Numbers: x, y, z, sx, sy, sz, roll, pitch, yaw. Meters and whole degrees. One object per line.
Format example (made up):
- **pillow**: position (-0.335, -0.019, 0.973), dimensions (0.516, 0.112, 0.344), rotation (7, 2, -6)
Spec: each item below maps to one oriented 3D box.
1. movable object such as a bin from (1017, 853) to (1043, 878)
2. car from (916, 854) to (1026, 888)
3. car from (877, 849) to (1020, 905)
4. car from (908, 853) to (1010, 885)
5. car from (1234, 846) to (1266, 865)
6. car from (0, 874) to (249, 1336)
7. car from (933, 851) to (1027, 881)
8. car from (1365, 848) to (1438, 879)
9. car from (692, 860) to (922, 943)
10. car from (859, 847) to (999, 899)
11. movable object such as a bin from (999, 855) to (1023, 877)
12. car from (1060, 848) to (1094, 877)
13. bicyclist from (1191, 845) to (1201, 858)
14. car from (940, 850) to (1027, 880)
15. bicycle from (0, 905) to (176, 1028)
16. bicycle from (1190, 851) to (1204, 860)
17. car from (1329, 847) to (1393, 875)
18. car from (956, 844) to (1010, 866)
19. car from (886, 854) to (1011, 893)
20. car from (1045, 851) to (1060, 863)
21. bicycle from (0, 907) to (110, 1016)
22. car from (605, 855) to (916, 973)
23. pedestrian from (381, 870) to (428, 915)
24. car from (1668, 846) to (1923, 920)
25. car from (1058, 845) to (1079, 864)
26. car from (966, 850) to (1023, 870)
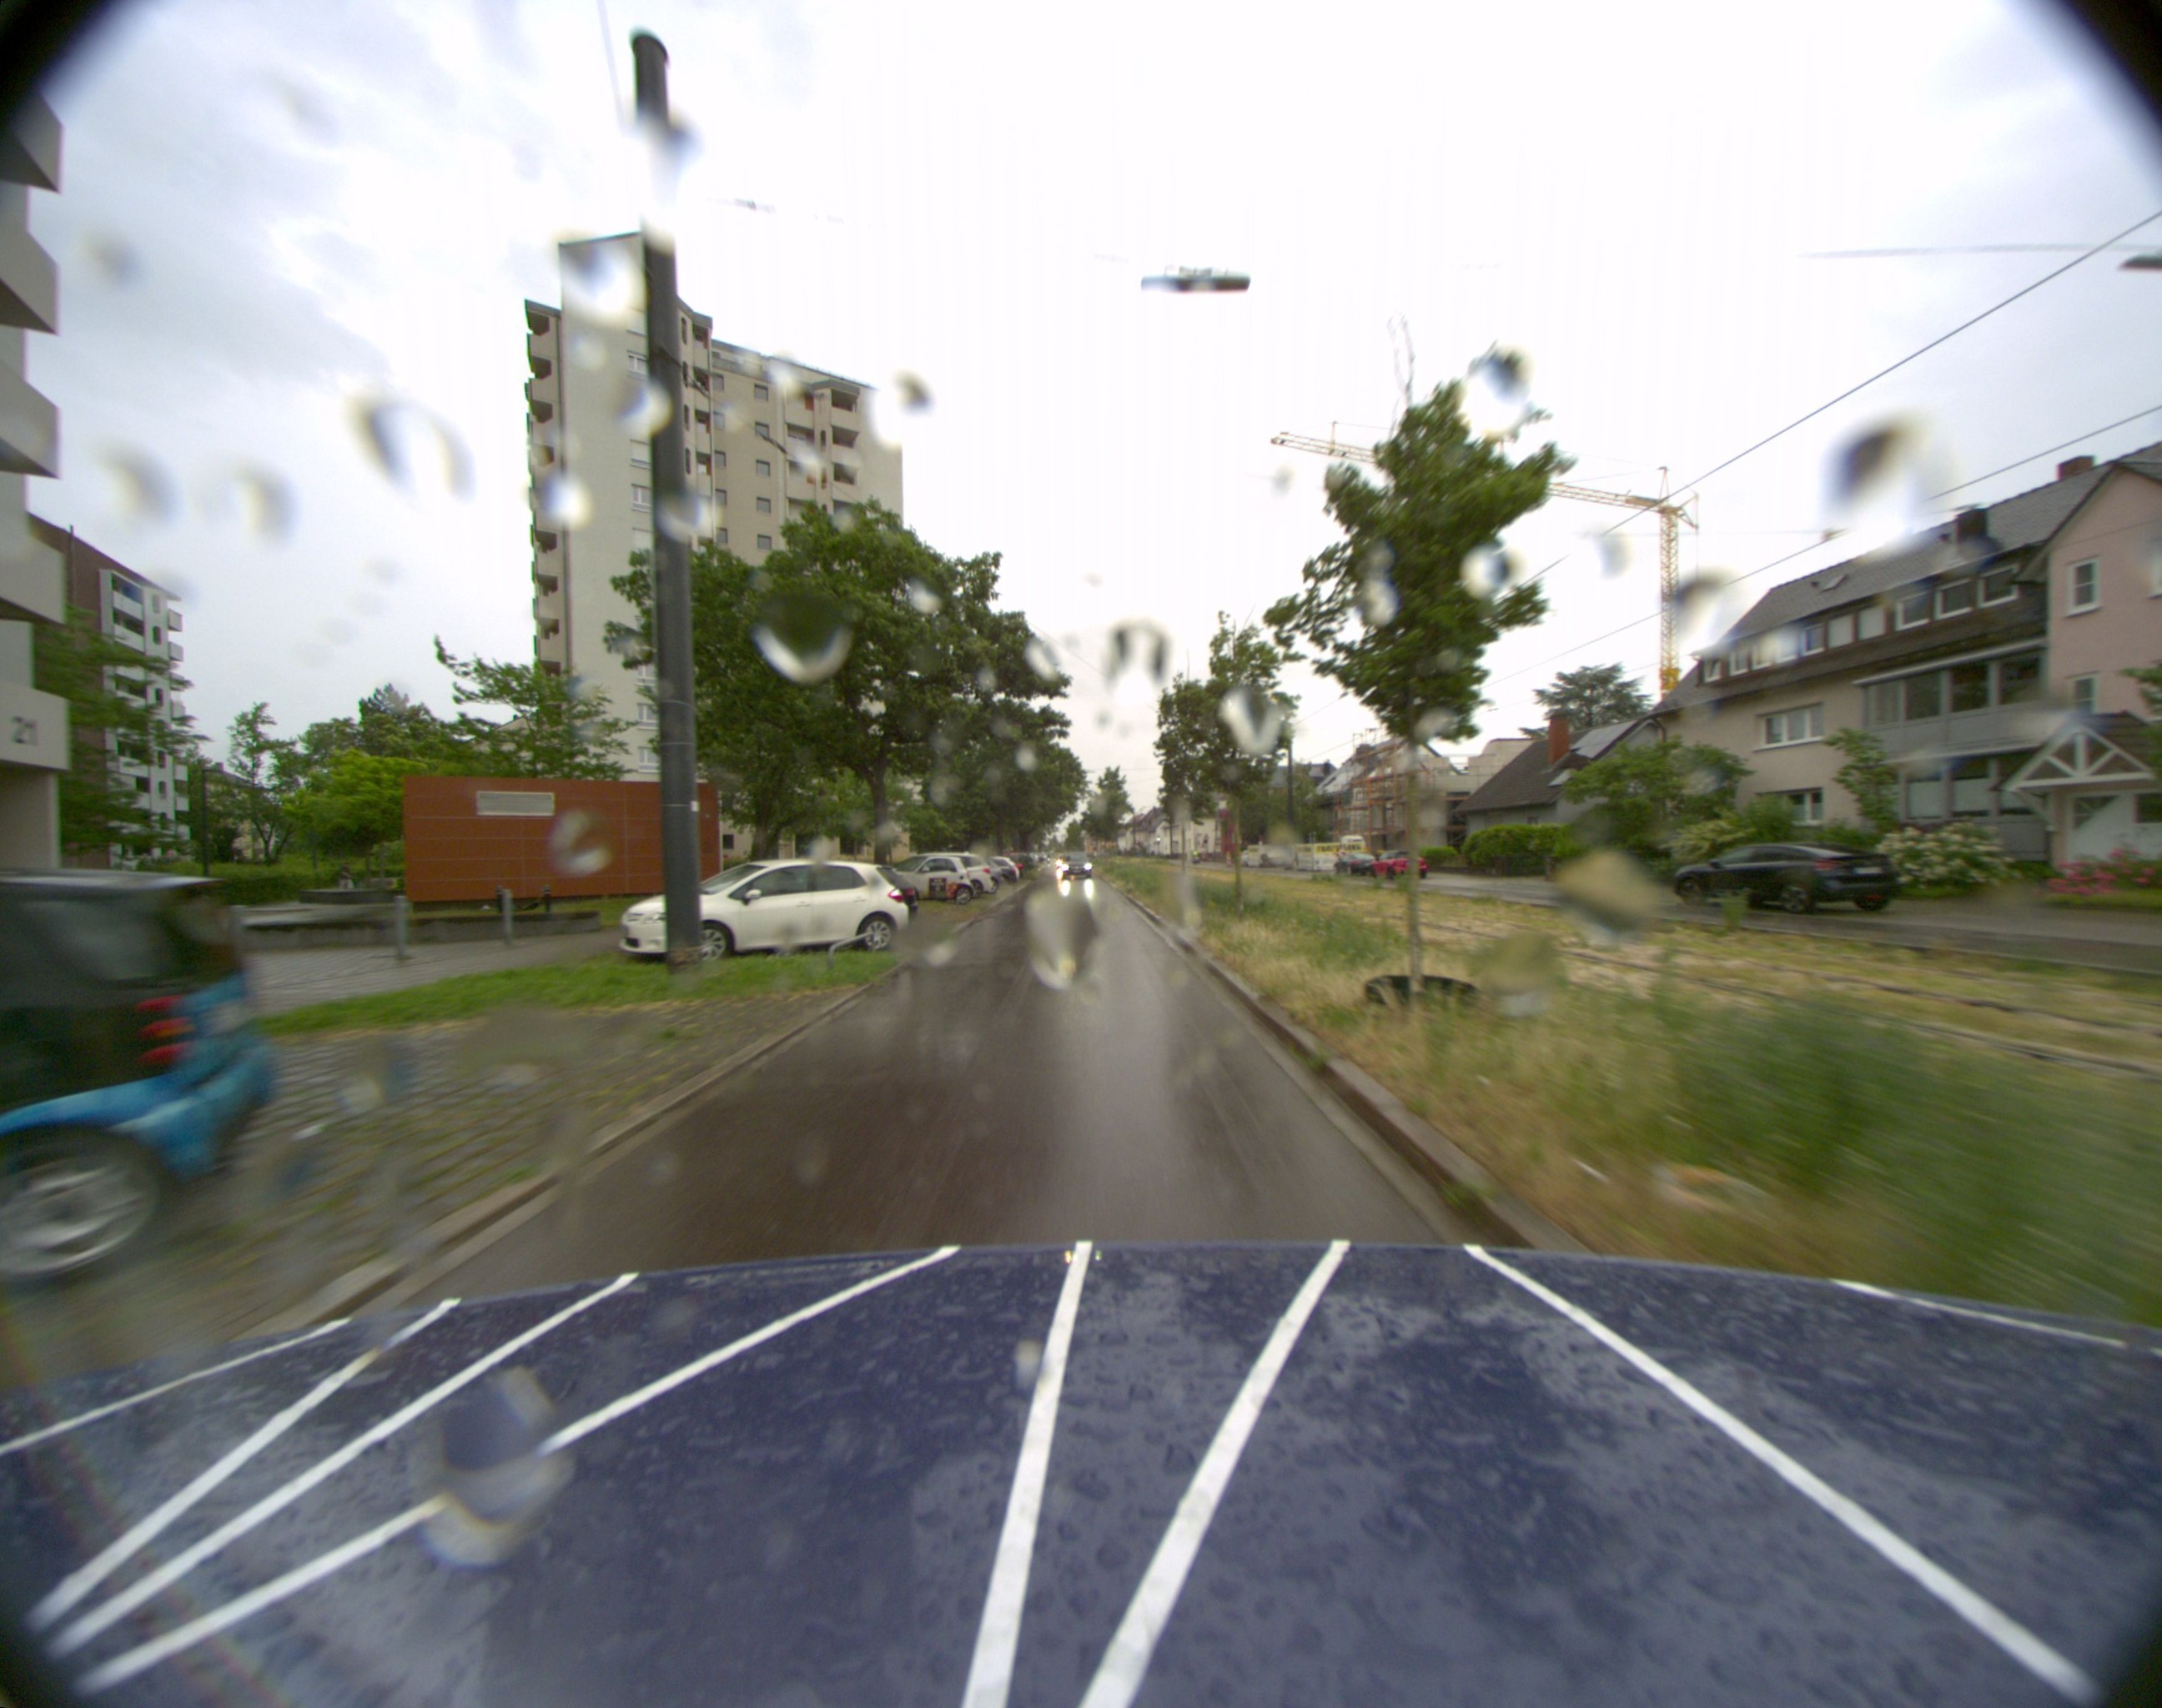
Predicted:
- **movable object such as a bin**: position (-3.296, 0.725, 49.027), dimensions (1.165, 1.553, 1.372), rotation (-3, 2, -23)
- **car**: position (-4.778, 0.751, 33.267), dimensions (4.469, 1.420, 1.680), rotation (2, -1, -34)
- **car**: position (-4.207, 0.723, 24.472), dimensions (4.194, 1.662, 1.680), rotation (2, -1, -37)
- **car**: position (-5.771, 0.743, 36.206), dimensions (4.470, 1.420, 1.805), rotation (2, -1, -38)
- **car**: position (16.477, 0.109, 74.300), dimensions (1.999, 1.618, 4.249), rotation (-2, 1, -3)
- **car**: position (-4.954, 0.907, 2.620), dimensions (2.570, 1.539, 1.598), rotation (-2, 2, -40)
- **car**: position (-5.211, 0.621, 39.338), dimensions (4.470, 1.456, 1.815), rotation (2, -1, -35)
- **car**: position (16.093, 0.444, 38.364), dimensions (1.999, 1.365, 3.842), rotation (-2, 1, -1)
- **car**: position (-5.359, 0.886, 15.059), dimensions (3.953, 1.423, 1.680), rotation (2, -1, -37)
- **car**: position (-5.256, 0.658, 26.638), dimensions (4.471, 1.662, 1.808), rotation (2, -1, -39)
- **movable object such as a bin**: position (-4.486, 0.769, 48.882), dimensions (0.999, 1.305, 1.183), rotation (-3, 2, -38)
- **car**: position (-0.263, 0.501, 47.886), dimensions (1.999, 1.611, 3.999), rotation (-2, 1, -1)
- **bicyclist**: position (13.636, -0.306, 90.269), dimensions (0.956, 1.575, 1.399), rotation (-2, 2, -1)
- **car**: position (-5.406, 0.642, 42.410), dimensions (4.469, 1.533, 1.680), rotation (2, 1, -32)
- **bicycle**: position (-10.109, 1.080, 7.138), dimensions (0.663, 1.000, 2.058), rotation (-2, 1, 1)
- **bicycle**: position (13.700, 0.198, 89.777), dimensions (0.937, 1.037, 3.433), rotation (-1, 1, -2)
- **car**: position (15.899, 0.413, 43.331), dimensions (1.999, 1.401, 4.174), rotation (-2, -1, -1)
- **car**: position (-8.089, 0.041, 62.843), dimensions (4.054, 1.676, 1.720), rotation (-2, 1, -36)
- **car**: position (-5.171, 0.769, 29.906), dimensions (4.470, 1.401, 1.763), rotation (2, -1, -35)
- **car**: position (-4.243, 0.462, 115.071), dimensions (1.998, 1.696, 3.999), rotation (-2, 1, 1)
- **bicycle**: position (-10.935, 1.108, 7.227), dimensions (0.663, 1.000, 2.058), rotation (-2, 1, 1)
- **car**: position (-4.940, 0.842, 12.034), dimensions (4.195, 1.538, 1.760), rotation (2, -1, -40)
- **pedestrian**: position (-32.223, 1.804, 36.228), dimensions (1.279, 2.002, 1.309), rotation (-3, 2, -28)
- **car**: position (16.084, 0.593, 17.471), dimensions (1.841, 1.418, 4.174), rotation (-2, 0, -1)
- **car**: position (-1.272, 0.059, 78.607), dimensions (1.998, 1.762, 3.999), rotation (-2, 1, 1)
- **car**: position (-6.738, 0.487, 59.322), dimensions (4.055, 1.479, 1.720), rotation (1, -1, -36)
